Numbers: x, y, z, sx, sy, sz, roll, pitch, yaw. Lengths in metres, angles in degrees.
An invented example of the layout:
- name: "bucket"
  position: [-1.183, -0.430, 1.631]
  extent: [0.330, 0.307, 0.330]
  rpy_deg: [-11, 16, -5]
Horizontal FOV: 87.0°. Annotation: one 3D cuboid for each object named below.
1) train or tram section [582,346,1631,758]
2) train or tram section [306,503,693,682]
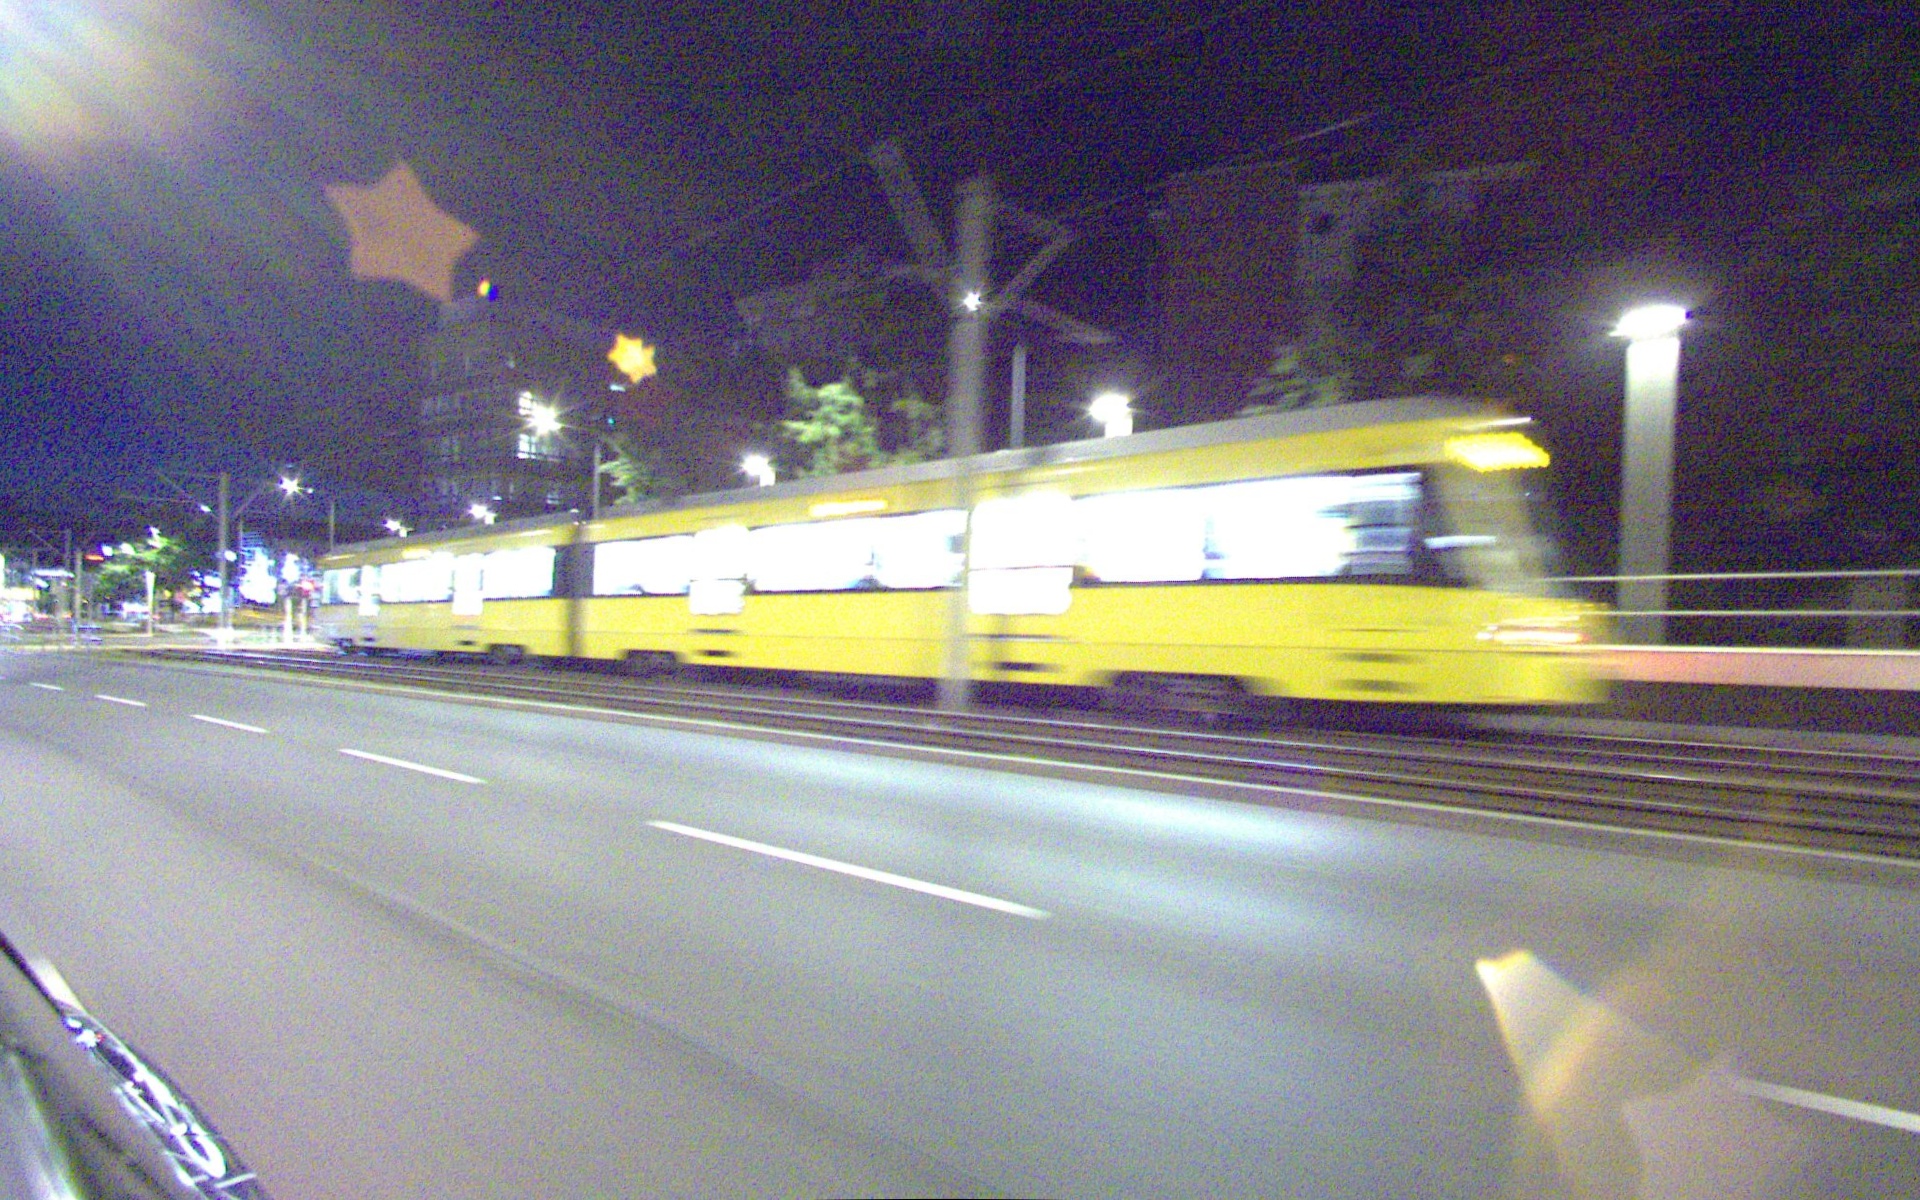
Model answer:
- name: "train or tram section"
  position: [-0.264, -0.309, 16.677]
  extent: [18.662, 3.856, 2.730]
  rpy_deg: [-1, -1, 42]
- name: "train or tram section"
  position: [-14.433, -0.020, 29.441]
  extent: [19.357, 3.875, 2.709]
  rpy_deg: [-1, -1, 42]
